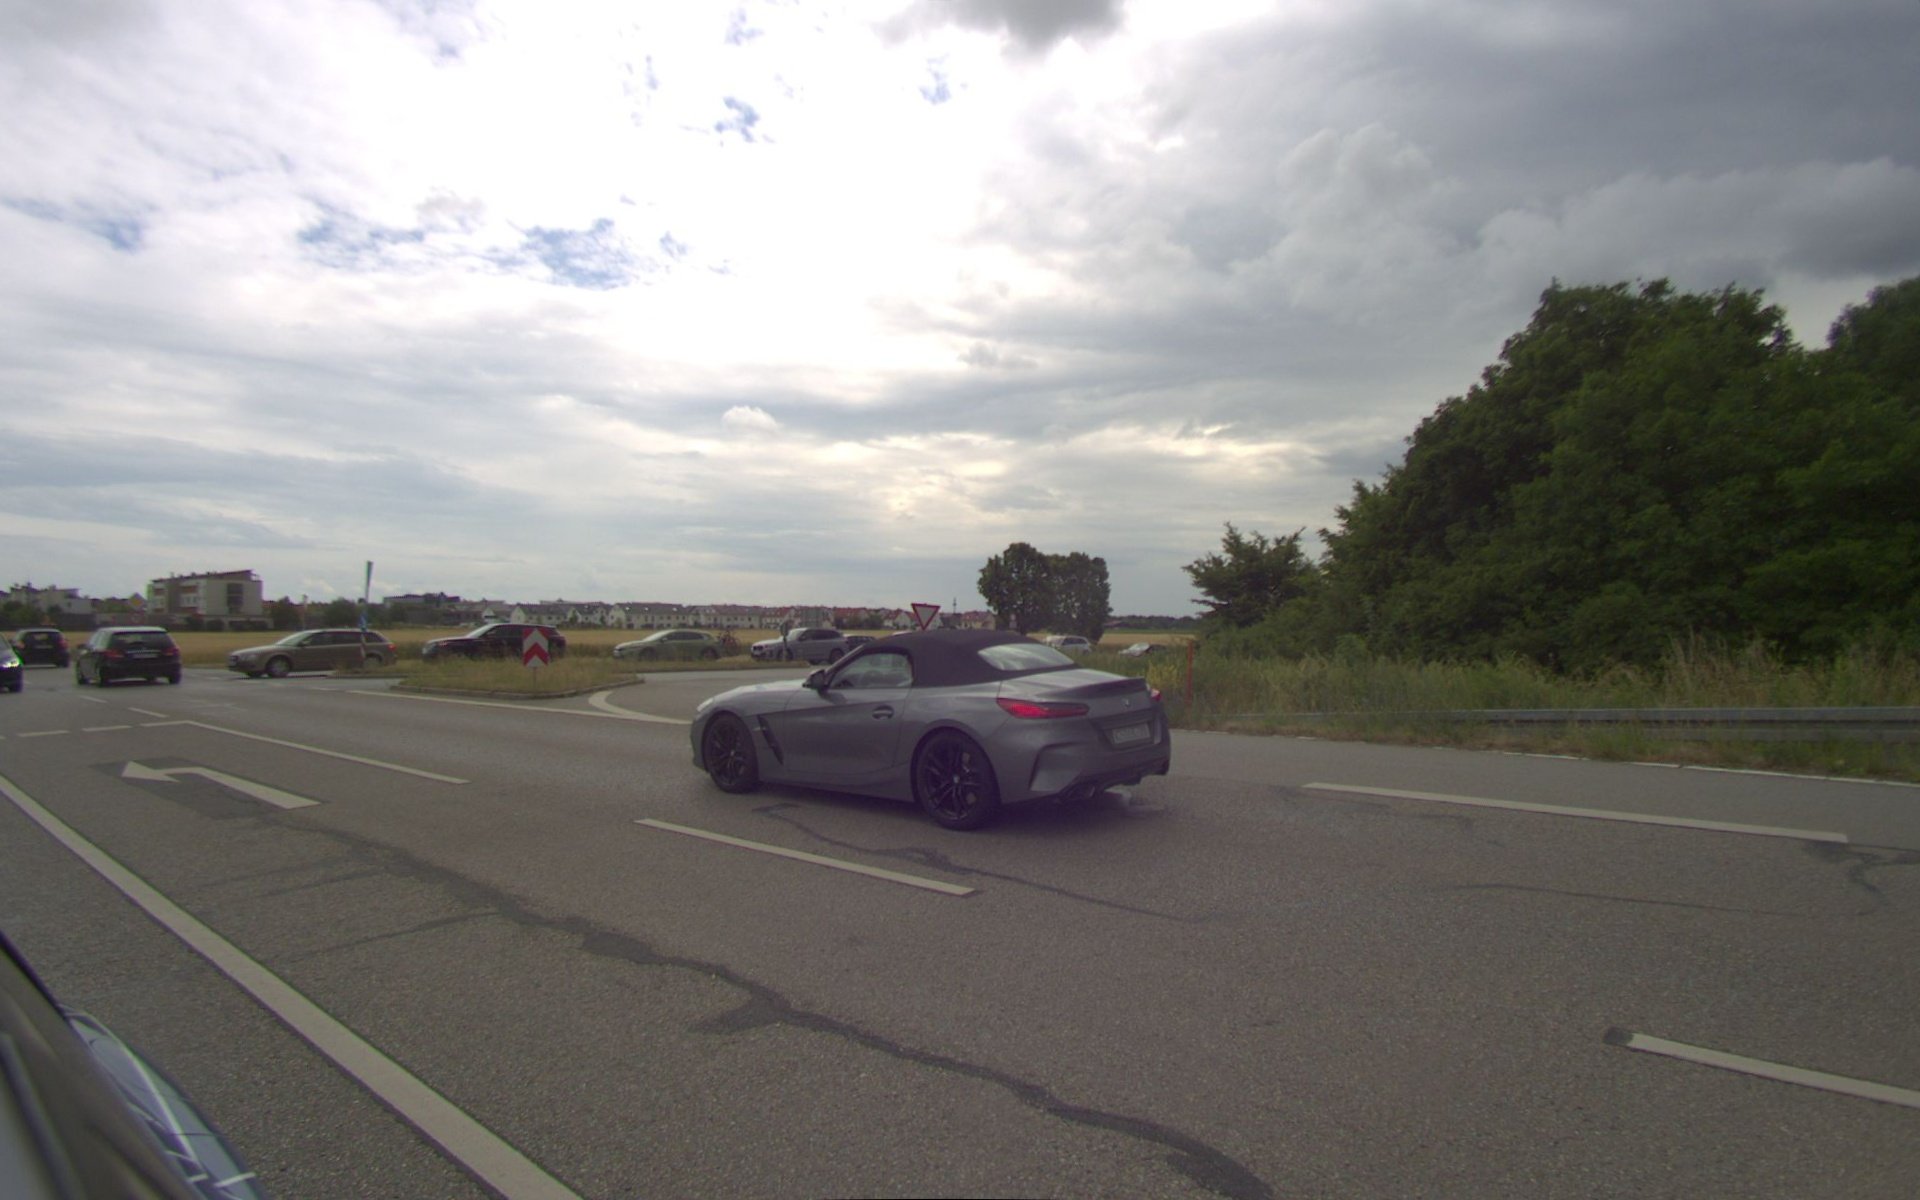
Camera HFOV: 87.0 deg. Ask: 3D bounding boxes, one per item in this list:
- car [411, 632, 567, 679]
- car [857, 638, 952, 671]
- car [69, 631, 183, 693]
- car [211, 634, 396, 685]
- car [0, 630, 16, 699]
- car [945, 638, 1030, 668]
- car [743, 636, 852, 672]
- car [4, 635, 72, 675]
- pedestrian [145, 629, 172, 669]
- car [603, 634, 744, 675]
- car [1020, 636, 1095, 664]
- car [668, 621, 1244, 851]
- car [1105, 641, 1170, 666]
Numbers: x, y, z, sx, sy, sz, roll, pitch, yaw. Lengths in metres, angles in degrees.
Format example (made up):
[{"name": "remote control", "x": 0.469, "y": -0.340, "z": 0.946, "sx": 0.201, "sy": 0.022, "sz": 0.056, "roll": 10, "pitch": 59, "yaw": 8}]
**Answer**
[{"name": "car", "x": -16.746, "y": 1.923, "z": 36.131, "sx": 4.682, "sy": 1.543, "sz": 1.913, "roll": 2, "pitch": -3, "yaw": -43}, {"name": "car", "x": -2.666, "y": 2.619, "z": 49.261, "sx": 4.437, "sy": 1.493, "sz": 1.913, "roll": 2, "pitch": -3, "yaw": -43}, {"name": "car", "x": -22.902, "y": 1.663, "z": 27.758, "sx": 4.196, "sy": 1.542, "sz": 1.724, "roll": -2, "pitch": -2, "yaw": 41}, {"name": "car", "x": -20.187, "y": 1.793, "z": 31.297, "sx": 1.905, "sy": 1.435, "sz": 4.414, "roll": -2, "pitch": -2, "yaw": 33}, {"name": "car", "x": -24.945, "y": 1.603, "z": 25.161, "sx": 4.479, "sy": 1.623, "sz": 1.685, "roll": -2, "pitch": -1, "yaw": 41}, {"name": "car", "x": 1.475, "y": 2.761, "z": 53.476, "sx": 4.437, "sy": 1.493, "sz": 1.913, "roll": 2, "pitch": -3, "yaw": -43}, {"name": "car", "x": -7.211, "y": 2.377, "z": 45.227, "sx": 4.568, "sy": 1.528, "sz": 1.913, "roll": 2, "pitch": -3, "yaw": -43}, {"name": "car", "x": -36.700, "y": 2.167, "z": 40.283, "sx": 3.166, "sy": 1.495, "sz": 1.644, "roll": -2, "pitch": -1, "yaw": 41}, {"name": "pedestrian", "x": -32.882, "y": 2.020, "z": 41.506, "sx": 0.865, "sy": 1.617, "sz": 0.587, "roll": -2, "pitch": -5, "yaw": 39}, {"name": "car", "x": -11.540, "y": 2.164, "z": 41.036, "sx": 5.221, "sy": 1.533, "sz": 1.913, "roll": 2, "pitch": -3, "yaw": -43}, {"name": "car", "x": 5.606, "y": 2.844, "z": 57.820, "sx": 1.912, "sy": 1.493, "sz": 4.440, "roll": -2, "pitch": -3, "yaw": 44}, {"name": "car", "x": -0.191, "y": 0.860, "z": 8.102, "sx": 4.234, "sy": 1.294, "sz": 2.142, "roll": -2, "pitch": -1, "yaw": 40}, {"name": "car", "x": 11.269, "y": 3.377, "z": 64.022, "sx": 1.912, "sy": 1.493, "sz": 4.440, "roll": -2, "pitch": -3, "yaw": 44}]
